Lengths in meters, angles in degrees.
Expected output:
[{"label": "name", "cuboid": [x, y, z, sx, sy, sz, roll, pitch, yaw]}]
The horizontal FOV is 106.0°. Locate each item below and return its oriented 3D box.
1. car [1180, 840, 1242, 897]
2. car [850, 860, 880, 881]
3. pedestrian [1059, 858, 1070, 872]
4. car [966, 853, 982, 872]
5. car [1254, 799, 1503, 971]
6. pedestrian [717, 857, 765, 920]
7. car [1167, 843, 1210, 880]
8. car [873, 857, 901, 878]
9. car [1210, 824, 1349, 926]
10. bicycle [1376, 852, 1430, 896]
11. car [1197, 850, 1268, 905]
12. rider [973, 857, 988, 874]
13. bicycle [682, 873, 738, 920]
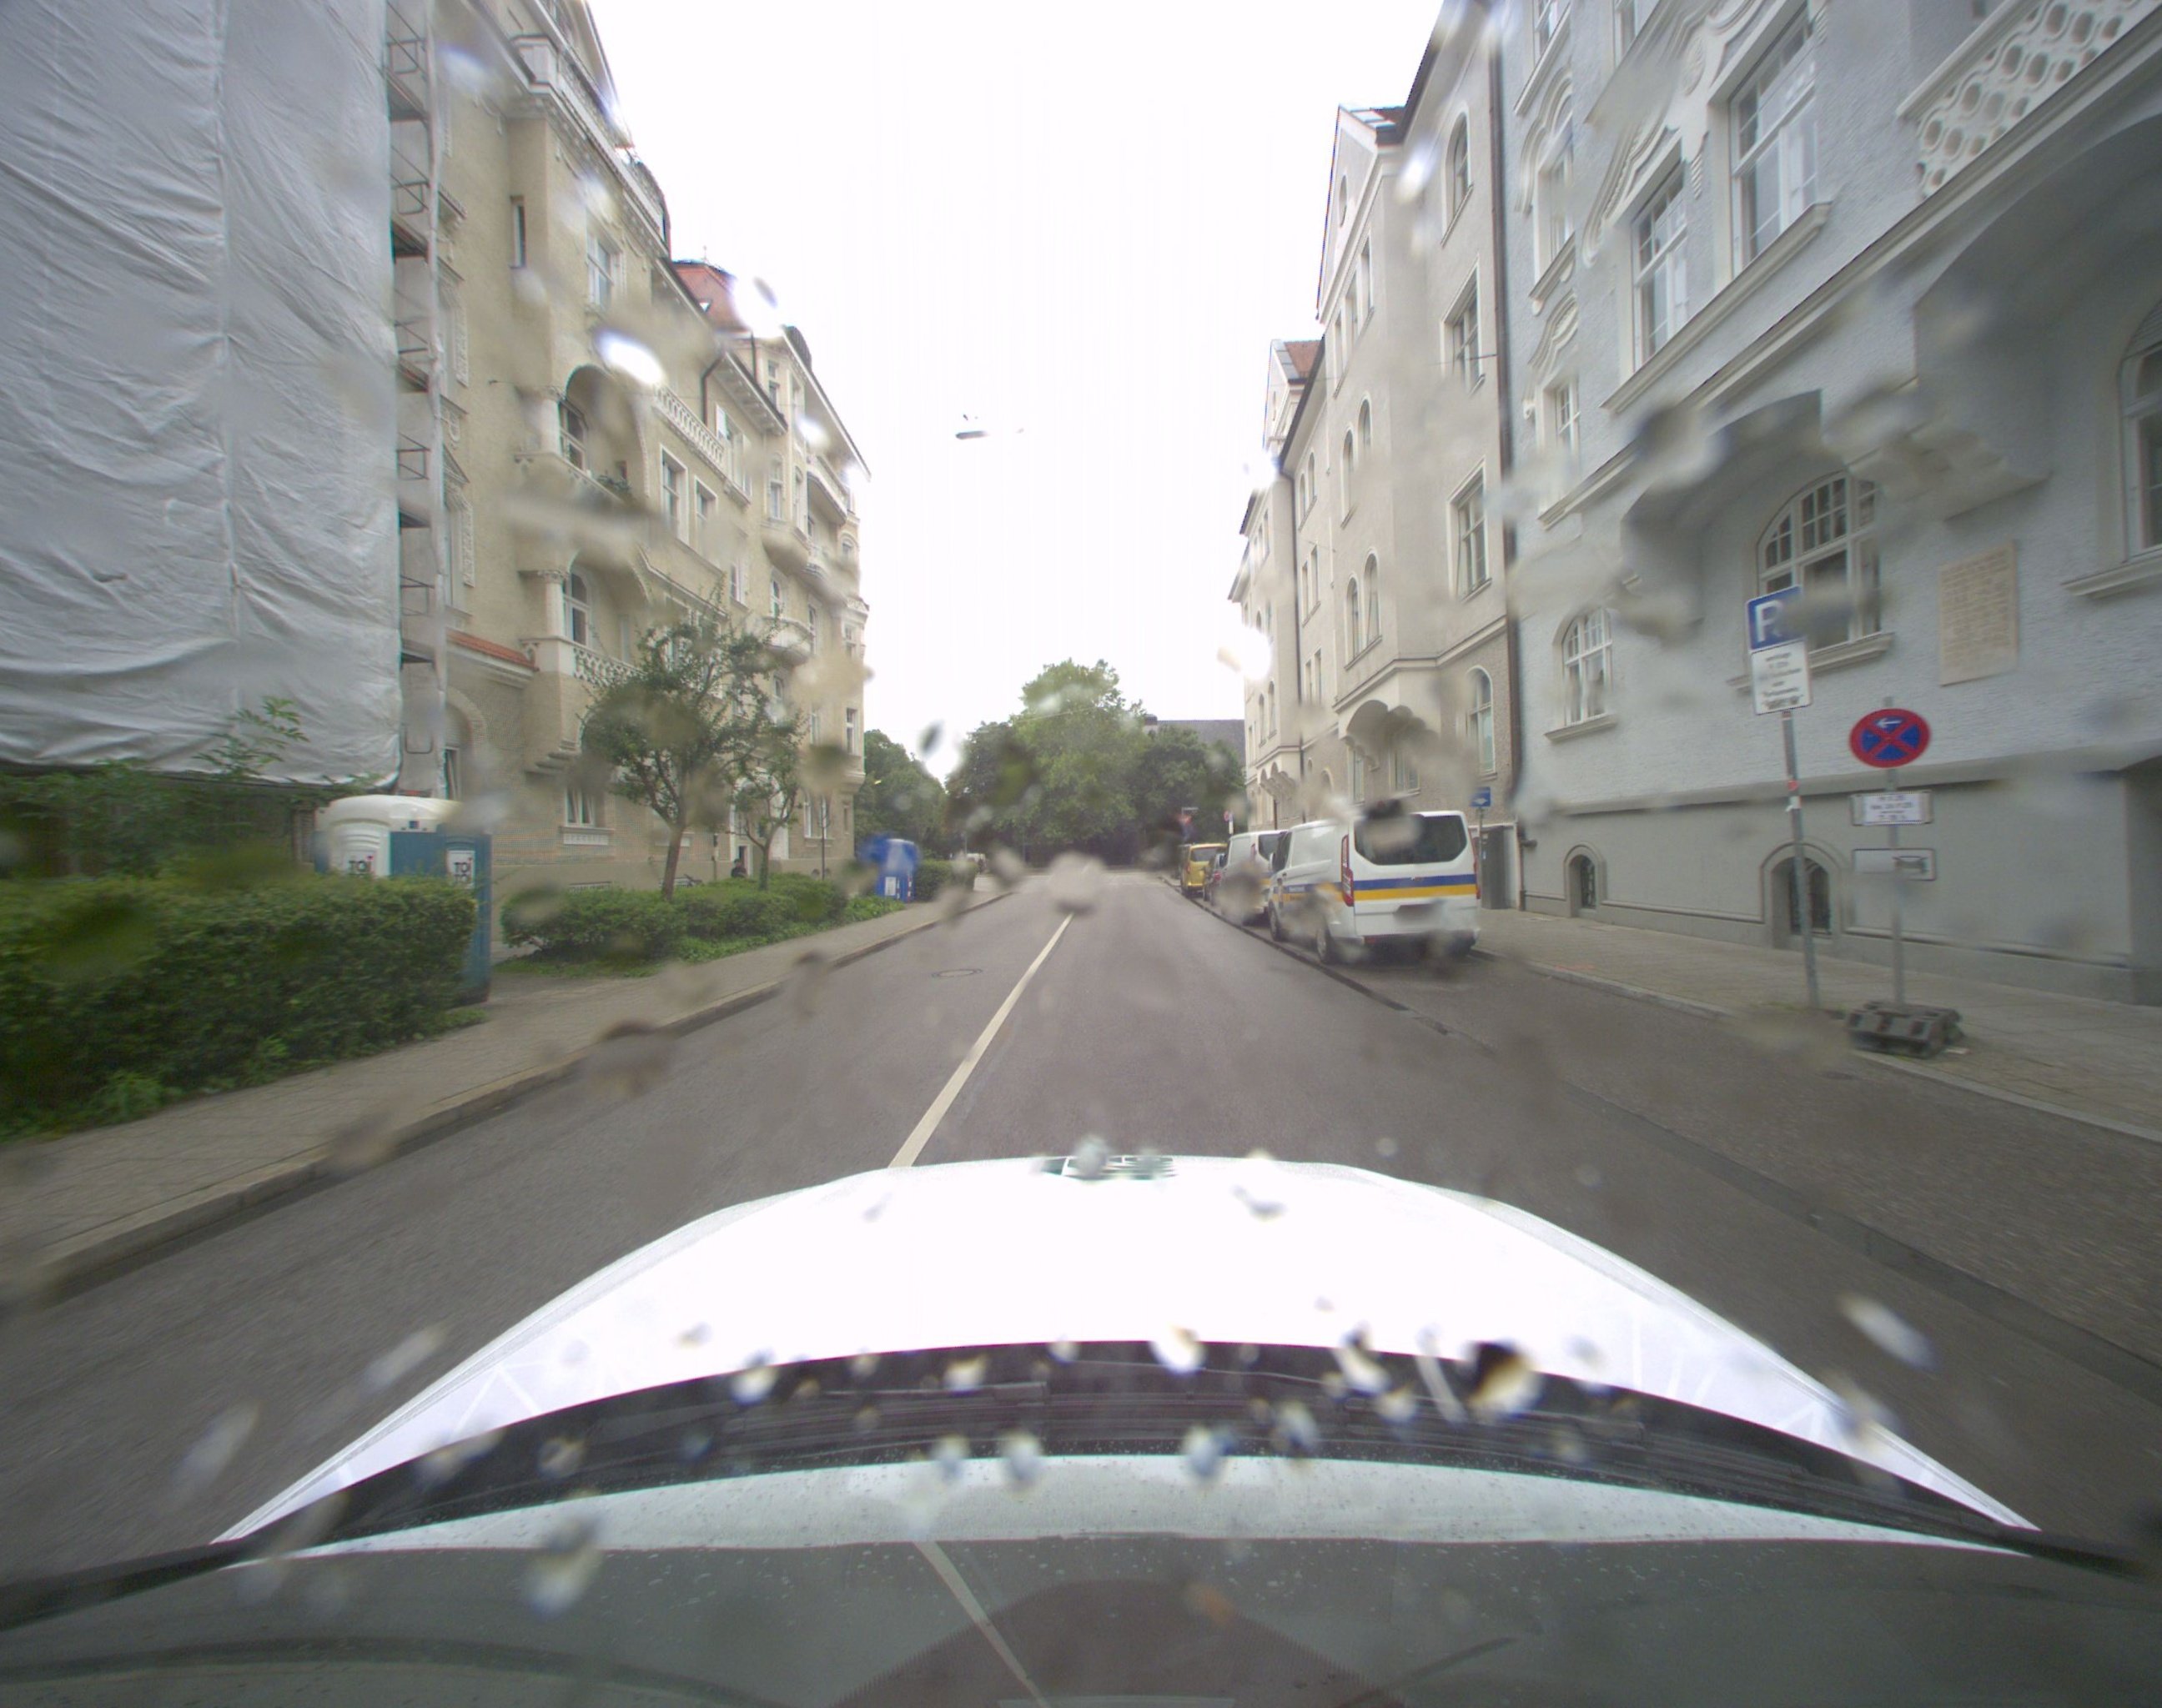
[{"label": "car", "cuboid": [4.655, 0.481, 29.761, 1.841, 1.853, 4.828, -2, 0, 5]}, {"label": "car", "cuboid": [-21.181, 1.572, 80.066, 1.922, 1.895, 4.861, -2, 0, -4]}, {"label": "pedestrian", "cuboid": [-1.425, 0.946, 71.102, 0.807, 1.189, 0.921, -2, 0, 8]}, {"label": "car", "cuboid": [-15.324, 1.248, 116.721, 2.040, 2.558, 5.234, -2, 0, -7]}, {"label": "car", "cuboid": [4.152, 0.377, 12.406, 1.953, 2.013, 4.993, -2, 0, 1]}, {"label": "pedestrian", "cuboid": [-9.873, 0.984, 23.658, 0.910, 1.751, 0.948, -2, 0, 1]}, {"label": "car", "cuboid": [6.255, 0.422, 47.730, 1.909, 1.962, 4.928, -3, 0, 1]}, {"label": "car", "cuboid": [-22.319, 1.500, 93.858, 2.105, 2.251, 5.190, -2, 0, -2]}, {"label": "car", "cuboid": [4.301, 0.421, 18.528, 1.953, 1.937, 4.993, -2, 0, 1]}, {"label": "bicycle", "cuboid": [8.719, 0.519, 22.115, 0.691, 1.093, 2.038, -4, 0, 3]}, {"label": "car", "cuboid": [4.525, 0.657, 24.698, 1.624, 1.484, 3.787, -2, 0, 4]}, {"label": "rider", "cuboid": [-10.281, 1.154, 83.399, 1.075, 1.667, 1.143, -4, -1, 10]}, {"label": "bicycle", "cuboid": [-10.779, 1.217, 23.723, 0.742, 1.276, 1.704, -2, 0, 3]}]
